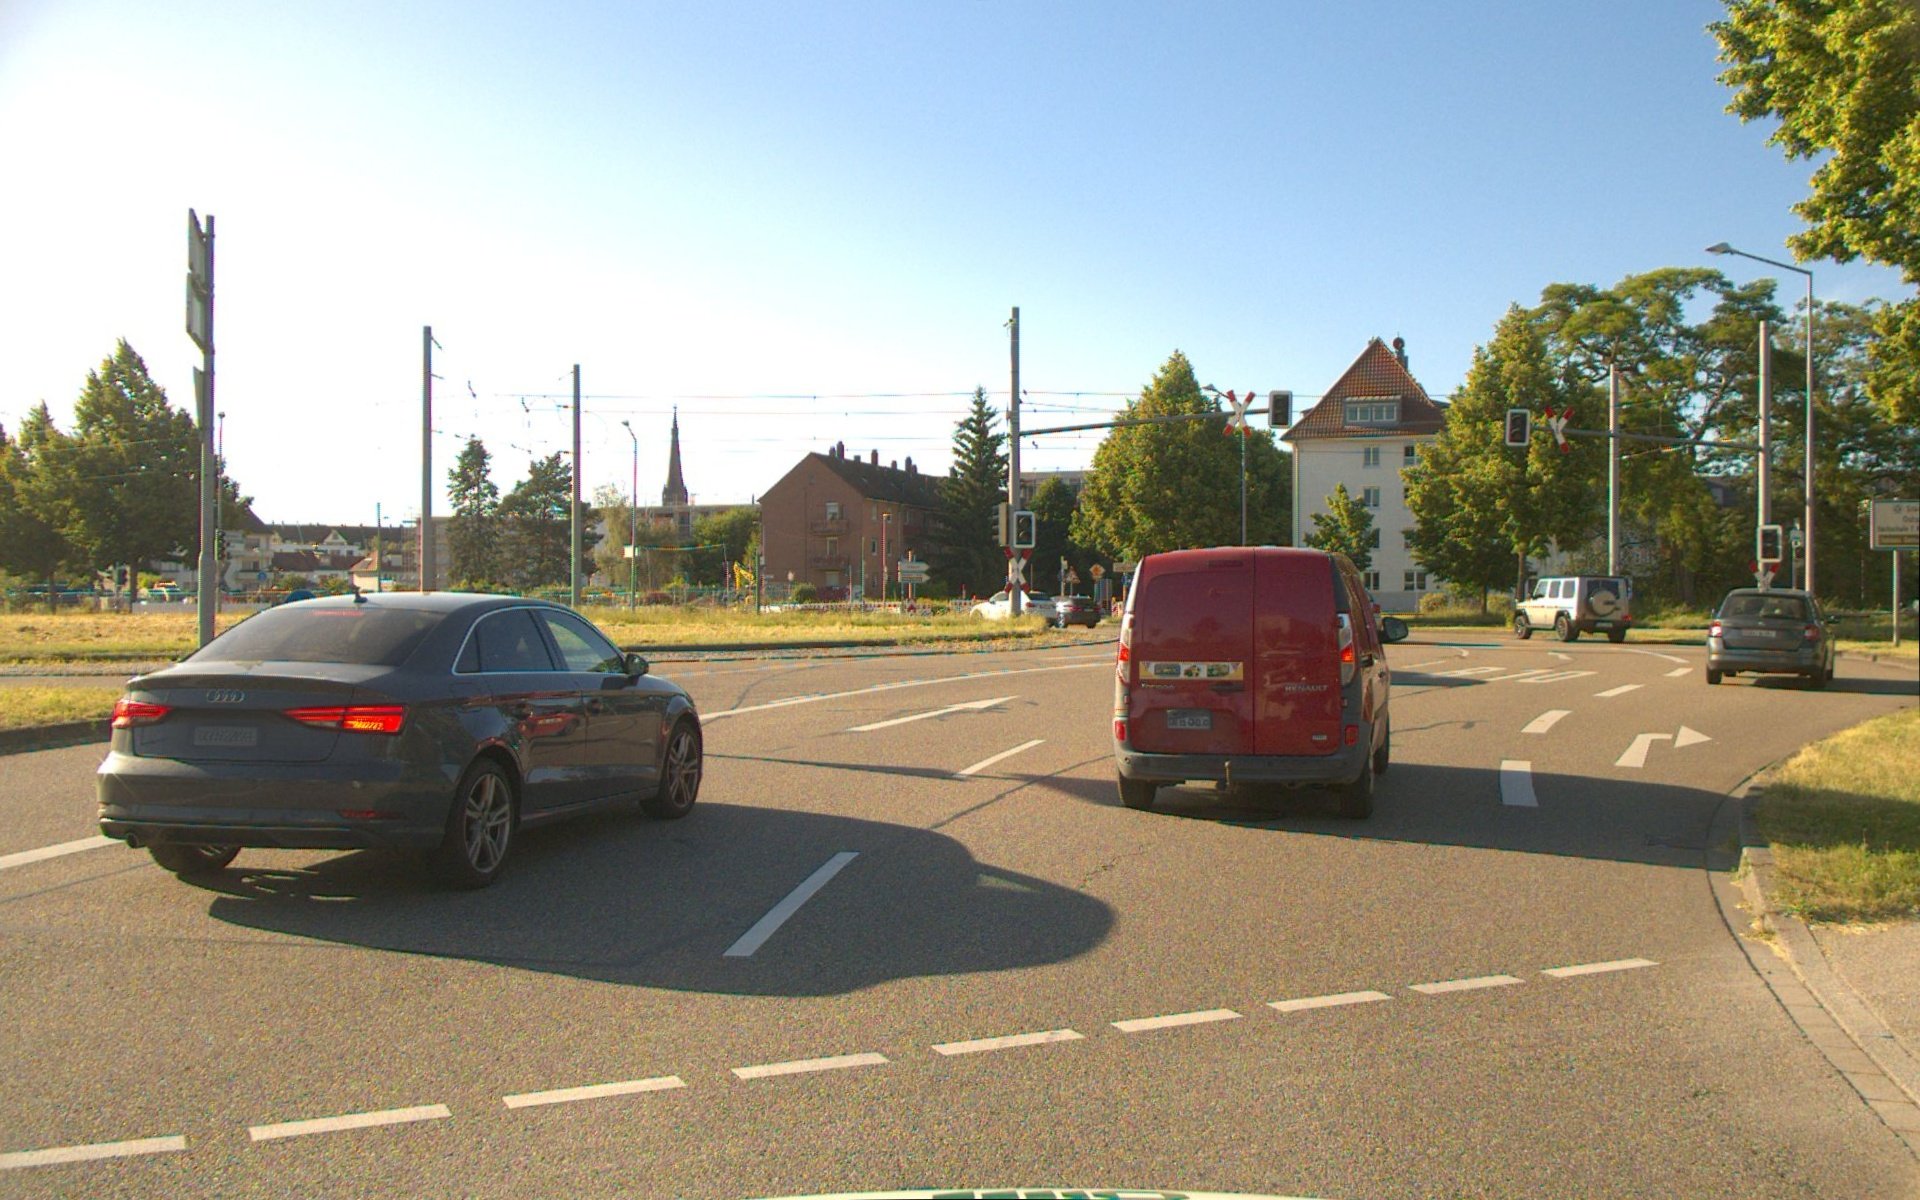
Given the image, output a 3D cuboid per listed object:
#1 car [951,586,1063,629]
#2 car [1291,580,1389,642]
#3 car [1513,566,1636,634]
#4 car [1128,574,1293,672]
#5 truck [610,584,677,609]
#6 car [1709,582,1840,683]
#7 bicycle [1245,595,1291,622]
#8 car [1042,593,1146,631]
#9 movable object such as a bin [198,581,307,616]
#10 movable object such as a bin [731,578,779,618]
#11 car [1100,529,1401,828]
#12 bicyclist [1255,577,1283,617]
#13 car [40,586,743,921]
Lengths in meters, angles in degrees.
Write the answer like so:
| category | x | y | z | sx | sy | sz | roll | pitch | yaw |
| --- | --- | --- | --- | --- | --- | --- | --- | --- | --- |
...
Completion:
| category | x | y | z | sx | sy | sz | roll | pitch | yaw |
| --- | --- | --- | --- | --- | --- | --- | --- | --- | --- |
| car | 1.853 | 0.266 | 65.667 | 1.985 | 1.667 | 4.337 | -1 | 1 | -44 |
| car | 10.230 | 0.259 | 44.843 | 1.951 | 1.602 | 4.411 | 0 | 1 | 4 |
| car | 18.507 | 0.015 | 50.041 | 1.956 | 1.930 | 4.752 | 0 | 0 | 0 |
| car | 4.265 | 0.381 | 27.696 | 1.766 | 1.487 | 3.807 | 1 | 0 | 24 |
| truck | -26.545 | -0.303 | 138.730 | 6.322 | 2.049 | 2.158 | 0 | -1 | 42 |
| car | 12.826 | 0.450 | 25.934 | 1.681 | 1.461 | 4.145 | 0 | 0 | 29 |
| bicycle | 14.810 | 0.409 | 79.586 | 0.809 | 1.288 | 2.181 | 2 | -1 | -36 |
| car | 5.855 | 0.501 | 72.593 | 1.985 | 1.566 | 4.337 | -1 | 1 | -44 |
| movable object such as a bin | -58.456 | -0.145 | 136.836 | 2.890 | 2.831 | 7.886 | 0 | 0 | 41 |
| movable object such as a bin | -15.208 | -0.140 | 122.666 | 2.388 | 2.822 | 3.968 | 2 | -1 | -25 |
| car | 2.320 | 0.461 | 12.396 | 1.765 | 1.845 | 3.812 | 1 | 1 | 17 |
| bicyclist | 14.858 | -0.127 | 79.530 | 0.803 | 1.885 | 1.013 | 2 | -2 | -35 |
| car | -2.786 | 0.653 | 9.312 | 1.722 | 1.404 | 4.362 | 0 | 0 | 12 |
